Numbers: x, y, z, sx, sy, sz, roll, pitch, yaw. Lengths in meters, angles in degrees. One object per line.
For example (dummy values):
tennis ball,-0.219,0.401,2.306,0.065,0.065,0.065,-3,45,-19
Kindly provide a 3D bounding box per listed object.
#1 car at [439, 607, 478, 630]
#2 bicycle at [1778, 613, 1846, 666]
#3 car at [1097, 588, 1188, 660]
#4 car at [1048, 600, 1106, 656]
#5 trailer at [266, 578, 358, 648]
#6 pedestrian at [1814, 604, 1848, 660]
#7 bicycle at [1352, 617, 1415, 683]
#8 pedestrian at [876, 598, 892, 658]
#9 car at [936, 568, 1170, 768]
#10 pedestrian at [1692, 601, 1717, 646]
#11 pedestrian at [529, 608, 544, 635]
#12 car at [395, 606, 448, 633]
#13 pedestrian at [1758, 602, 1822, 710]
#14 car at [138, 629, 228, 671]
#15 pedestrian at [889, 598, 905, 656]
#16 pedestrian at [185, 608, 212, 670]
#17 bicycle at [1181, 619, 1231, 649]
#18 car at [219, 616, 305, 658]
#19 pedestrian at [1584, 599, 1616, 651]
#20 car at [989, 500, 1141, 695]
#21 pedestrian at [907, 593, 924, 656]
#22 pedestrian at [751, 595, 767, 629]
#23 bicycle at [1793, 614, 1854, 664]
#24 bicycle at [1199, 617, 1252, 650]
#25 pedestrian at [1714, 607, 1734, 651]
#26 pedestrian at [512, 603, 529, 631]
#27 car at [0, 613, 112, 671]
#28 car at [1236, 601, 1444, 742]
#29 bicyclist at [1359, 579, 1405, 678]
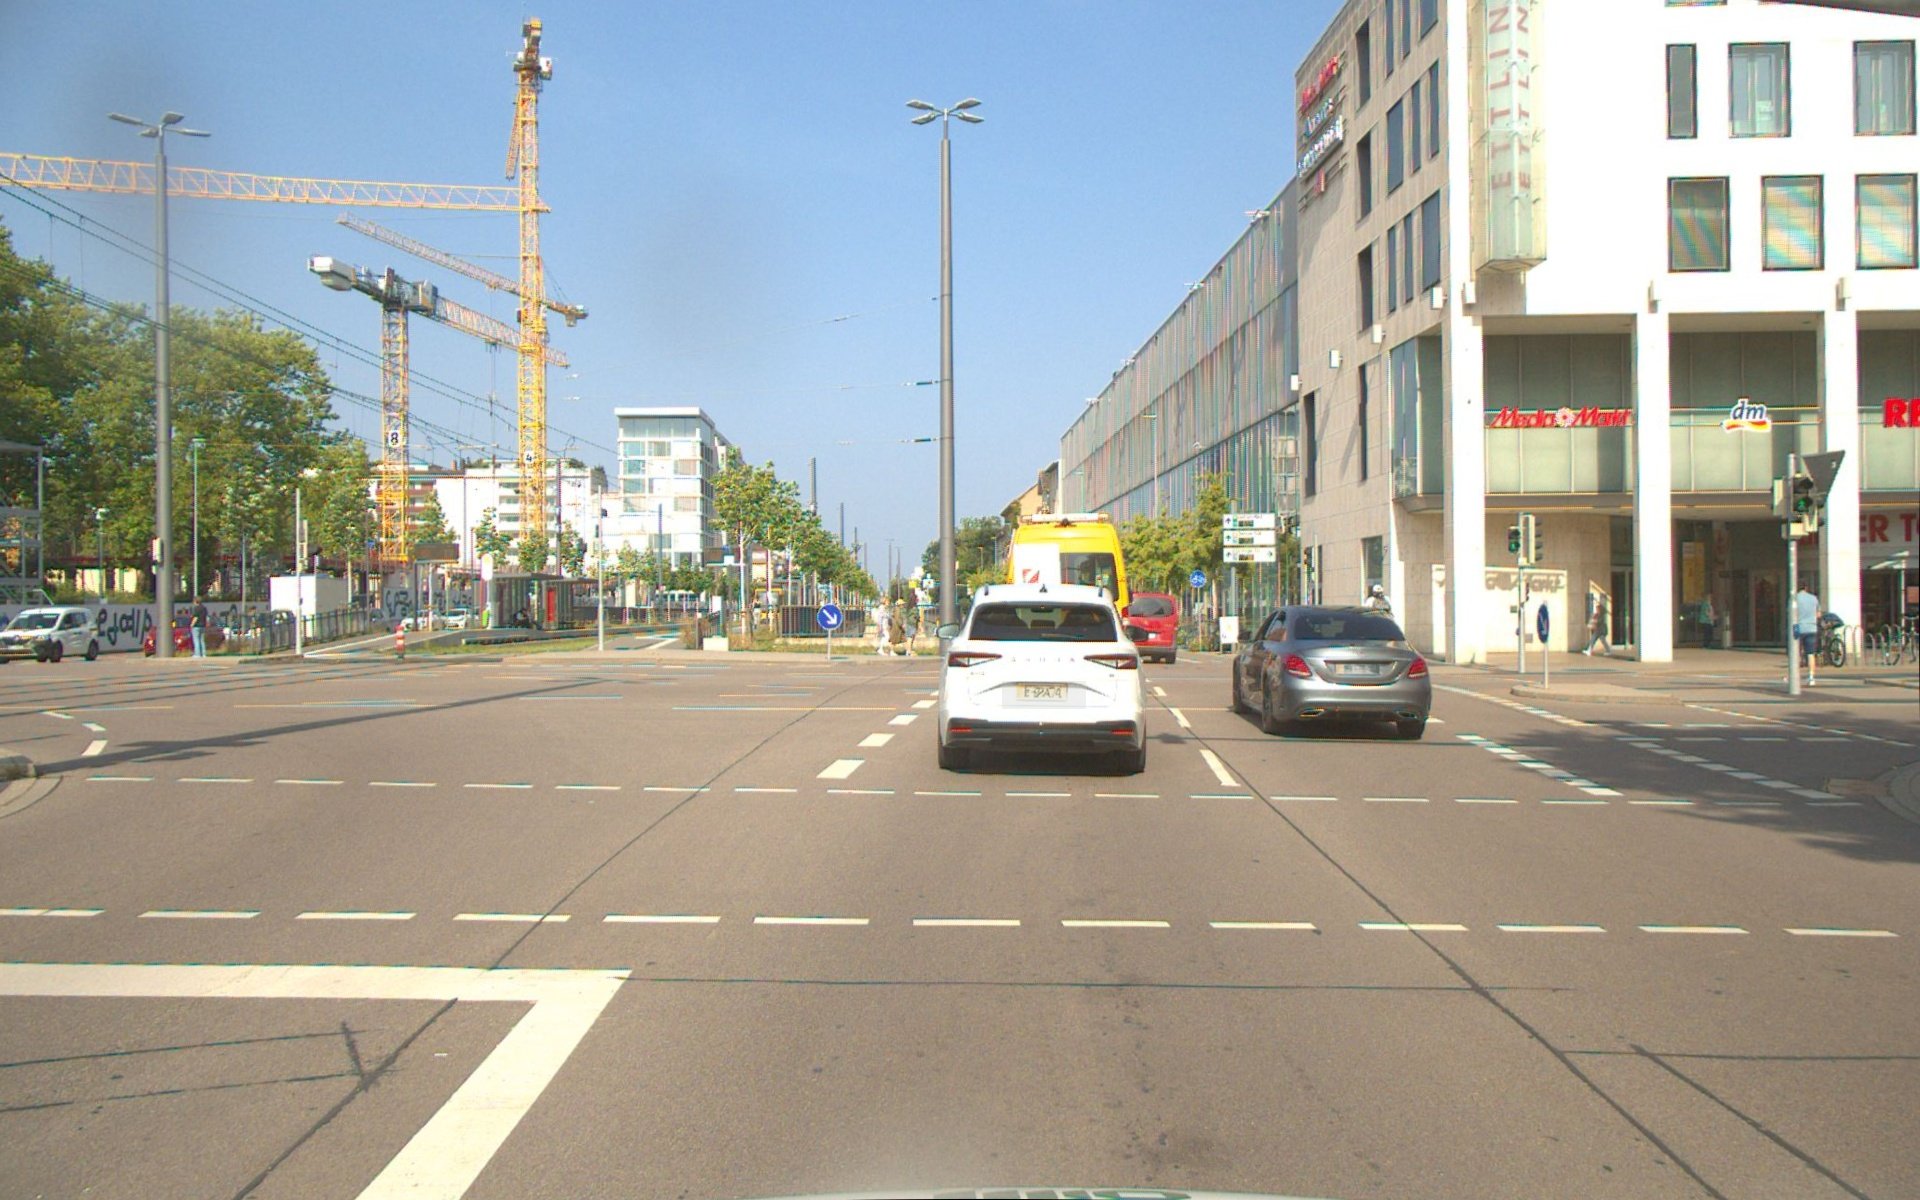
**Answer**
car,-33.083,1.236,109.137,1.564,1.489,3.432,0,-1,-1
bicycle,20.791,0.944,40.393,0.600,1.259,2.070,0,-1,0
car,4.982,0.640,45.720,1.911,1.882,4.434,0,0,-2
car,4.157,1.000,59.194,1.675,1.895,3.792,1,-1,-2
trailer,-27.273,0.556,69.844,2.003,2.829,5.019,1,-1,-2
pedestrian,21.825,0.791,41.441,0.501,1.380,0.547,0,-1,-8
bicycle,7.691,0.886,30.131,0.647,1.137,2.051,-1,0,1
pedestrian,-2.151,0.786,46.832,0.458,1.679,0.777,0,0,-2
car,0.724,0.554,15.350,1.832,1.602,3.999,0,0,-2
pedestrian,23.884,0.749,53.046,0.553,1.408,0.492,0,0,-7
pedestrian,-21.123,1.061,82.500,0.667,1.323,0.592,-1,0,-5
car,-32.972,1.195,101.346,1.755,1.609,4.615,0,-1,-1
pedestrian,13.670,0.904,27.262,0.629,1.741,0.990,0,0,6
car,-26.917,1.707,57.420,1.687,1.385,3.694,0,0,-6
pedestrian,-1.806,0.775,47.745,0.458,1.679,0.777,0,0,-2
pedestrian,-21.292,1.092,46.269,0.362,1.705,0.640,-1,-1,15
bicycle,9.543,1.312,64.232,1.840,1.129,0.490,0,0,0
car,-26.744,1.388,63.535,1.610,1.495,4.401,-1,0,-3
pedestrian,18.792,0.730,48.584,0.693,1.513,0.605,0,0,1
car,1.590,-0.054,26.966,1.979,2.845,5.399,0,0,-2
pedestrian,-1.198,0.647,44.268,0.458,1.679,0.777,0,0,-2
pedestrian,-9.905,0.601,81.329,0.721,1.647,0.710,0,-1,-3
bicycle,21.439,0.953,41.082,0.490,1.220,1.792,0,0,-3
bicycle,9.632,1.208,60.057,1.801,1.132,0.687,1,0,0
pedestrian,24.018,0.910,51.985,0.384,1.364,0.455,0,0,-2
pedestrian,-21.147,0.829,79.620,0.667,1.323,0.592,-1,0,-5
car,-30.025,1.344,54.860,1.583,1.820,4.517,0,0,-2
car,4.339,0.759,19.466,1.723,1.461,4.117,1,0,3
bicyclist,7.682,0.513,30.111,0.637,1.779,0.769,-1,0,1
